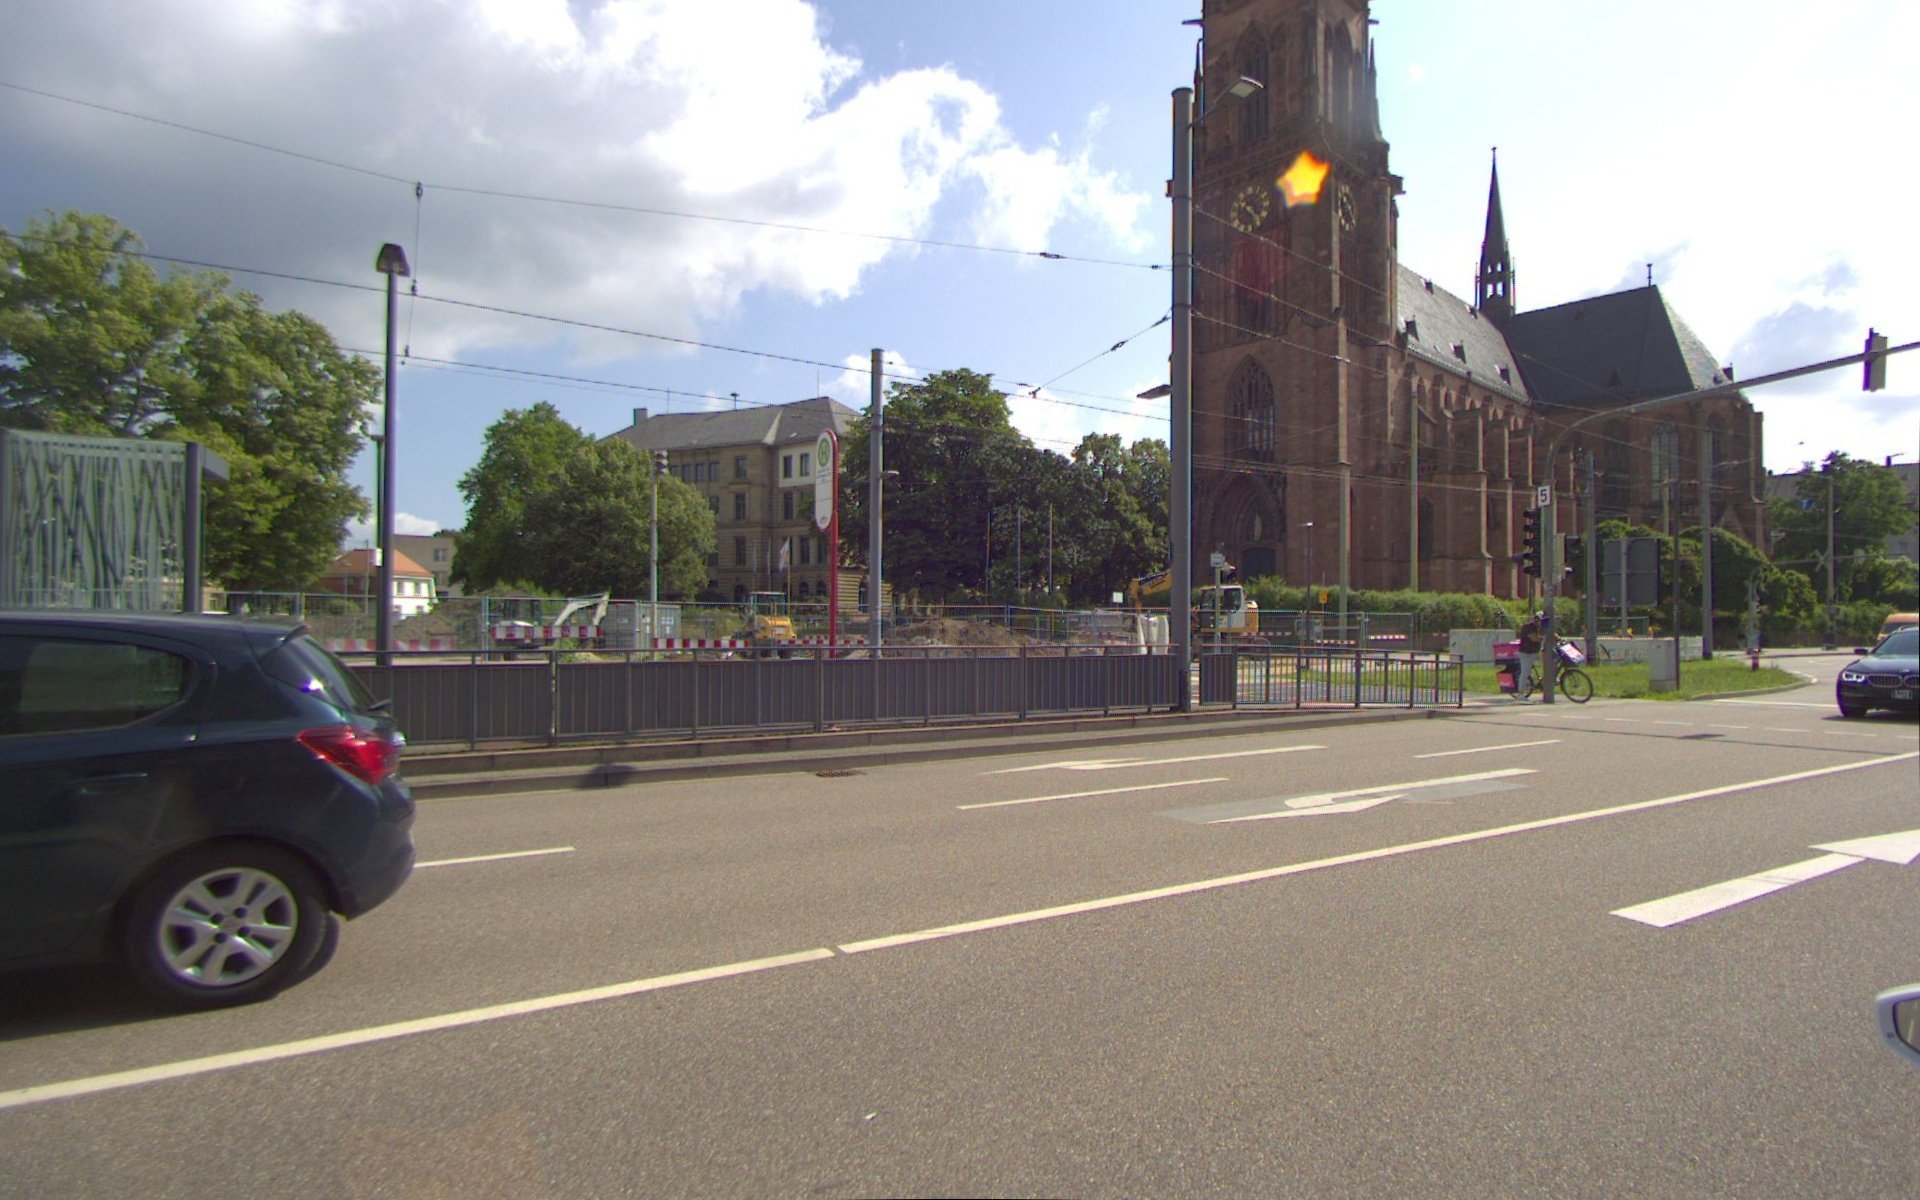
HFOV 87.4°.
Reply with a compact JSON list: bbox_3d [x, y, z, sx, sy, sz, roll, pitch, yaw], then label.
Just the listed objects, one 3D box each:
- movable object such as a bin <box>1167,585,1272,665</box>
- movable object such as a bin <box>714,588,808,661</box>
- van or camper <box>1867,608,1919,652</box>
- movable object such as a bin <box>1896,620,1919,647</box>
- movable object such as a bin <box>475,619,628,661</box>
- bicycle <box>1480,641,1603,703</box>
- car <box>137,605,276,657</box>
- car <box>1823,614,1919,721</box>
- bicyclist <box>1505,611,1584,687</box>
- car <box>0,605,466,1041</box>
[{"bbox_3d":[11.006,1.019,42.557,3.948,3.147,1.987,-2,0,-27],"label":"movable object such as a bin"},{"bbox_3d":[-8.638,1.063,43.240,1.982,2.950,5.100,1,-2,-37],"label":"movable object such as a bin"},{"bbox_3d":[62.409,1.997,66.519,6.142,2.774,2.241,1,-2,-36],"label":"van or camper"},{"bbox_3d":[67.380,2.325,70.156,3.678,1.716,2.193,-2,0,-35],"label":"movable object such as a bin"},{"bbox_3d":[-15.685,1.519,38.750,5.119,1.522,1.974,2,-2,-44],"label":"movable object such as a bin"},{"bbox_3d":[11.584,1.408,20.105,0.917,1.141,2.016,1,-2,-20],"label":"bicycle"},{"bbox_3d":[-33.756,1.340,45.134,1.905,2.166,4.639,-1,0,27],"label":"car"},{"bbox_3d":[15.902,1.036,16.236,4.512,1.572,1.807,1,-2,-34],"label":"car"},{"bbox_3d":[11.656,0.967,20.051,0.812,1.455,1.087,1,-2,-20],"label":"bicyclist"},{"bbox_3d":[-4.050,0.751,3.899,3.698,1.436,1.906,1,-2,-31],"label":"car"}]
